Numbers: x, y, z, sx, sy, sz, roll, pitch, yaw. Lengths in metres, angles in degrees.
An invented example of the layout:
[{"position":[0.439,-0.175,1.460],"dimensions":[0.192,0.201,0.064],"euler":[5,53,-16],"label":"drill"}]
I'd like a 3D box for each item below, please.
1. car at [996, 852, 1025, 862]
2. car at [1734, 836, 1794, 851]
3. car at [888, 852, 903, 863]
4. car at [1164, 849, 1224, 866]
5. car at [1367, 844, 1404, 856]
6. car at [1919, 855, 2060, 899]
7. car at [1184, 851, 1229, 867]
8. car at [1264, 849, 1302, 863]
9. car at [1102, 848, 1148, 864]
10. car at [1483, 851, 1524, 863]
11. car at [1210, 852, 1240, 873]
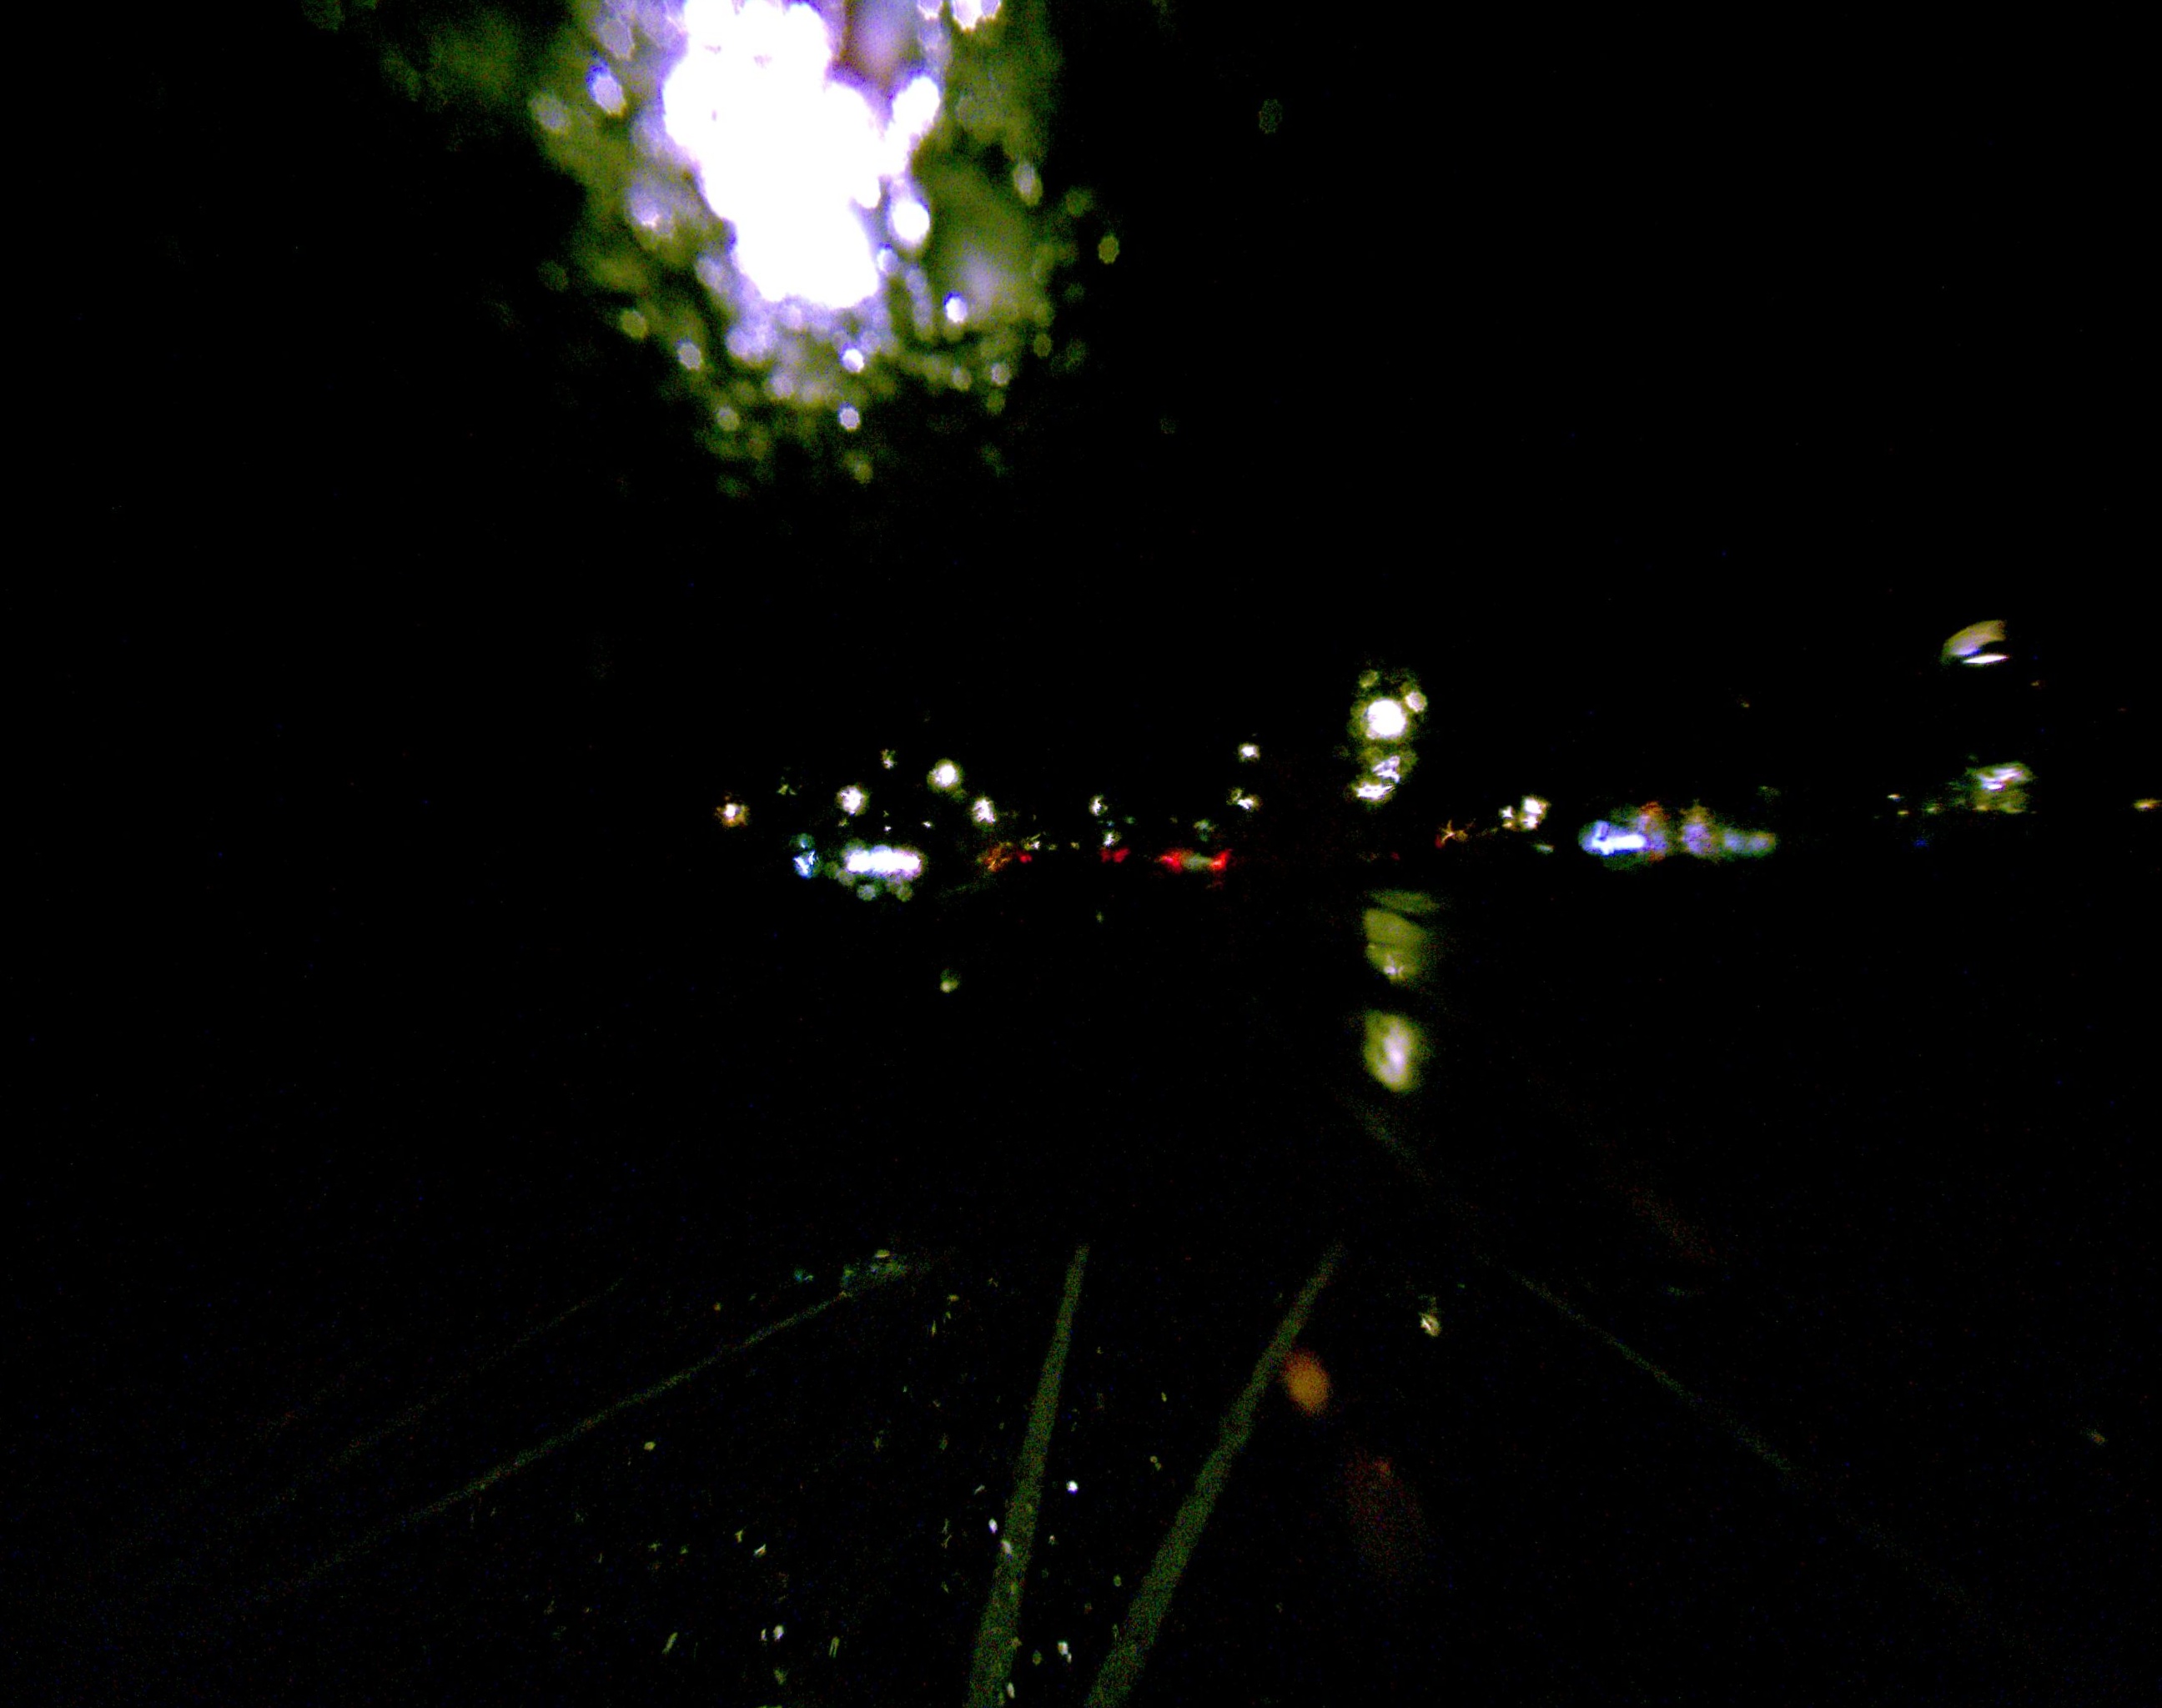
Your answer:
[{"position":[-11.554,0.448,124.703],"dimensions":[4.190,1.457,1.996],"euler":[-1,1,-24],"label":"car"},{"position":[74.153,-1.175,82.546],"dimensions":[4.420,1.612,2.003],"euler":[0,1,25],"label":"car"},{"position":[-29.020,0.529,119.235],"dimensions":[2.000,1.744,3.996],"euler":[0,1,-10],"label":"car"},{"position":[10.511,0.345,70.829],"dimensions":[5.101,1.457,1.997],"euler":[-1,1,-15],"label":"car"},{"position":[40.747,-0.554,101.646],"dimensions":[4.417,1.524,2.003],"euler":[0,1,25],"label":"car"},{"position":[30.153,0.715,25.377],"dimensions":[1.533,1.328,3.827],"euler":[0,1,25],"label":"car"},{"position":[13.147,0.508,79.565],"dimensions":[4.190,1.524,1.996],"euler":[-1,1,-22],"label":"car"},{"position":[22.785,0.194,85.705],"dimensions":[4.194,1.524,1.994],"euler":[-1,1,-39],"label":"car"},{"position":[4.475,0.223,77.292],"dimensions":[4.430,1.612,1.999],"euler":[0,1,-4],"label":"car"},{"position":[54.310,0.391,97.704],"dimensions":[4.420,1.612,2.003],"euler":[0,0,25],"label":"car"},{"position":[11.028,0.619,58.595],"dimensions":[1.997,1.447,4.305],"euler":[3,1,8],"label":"car"}]
